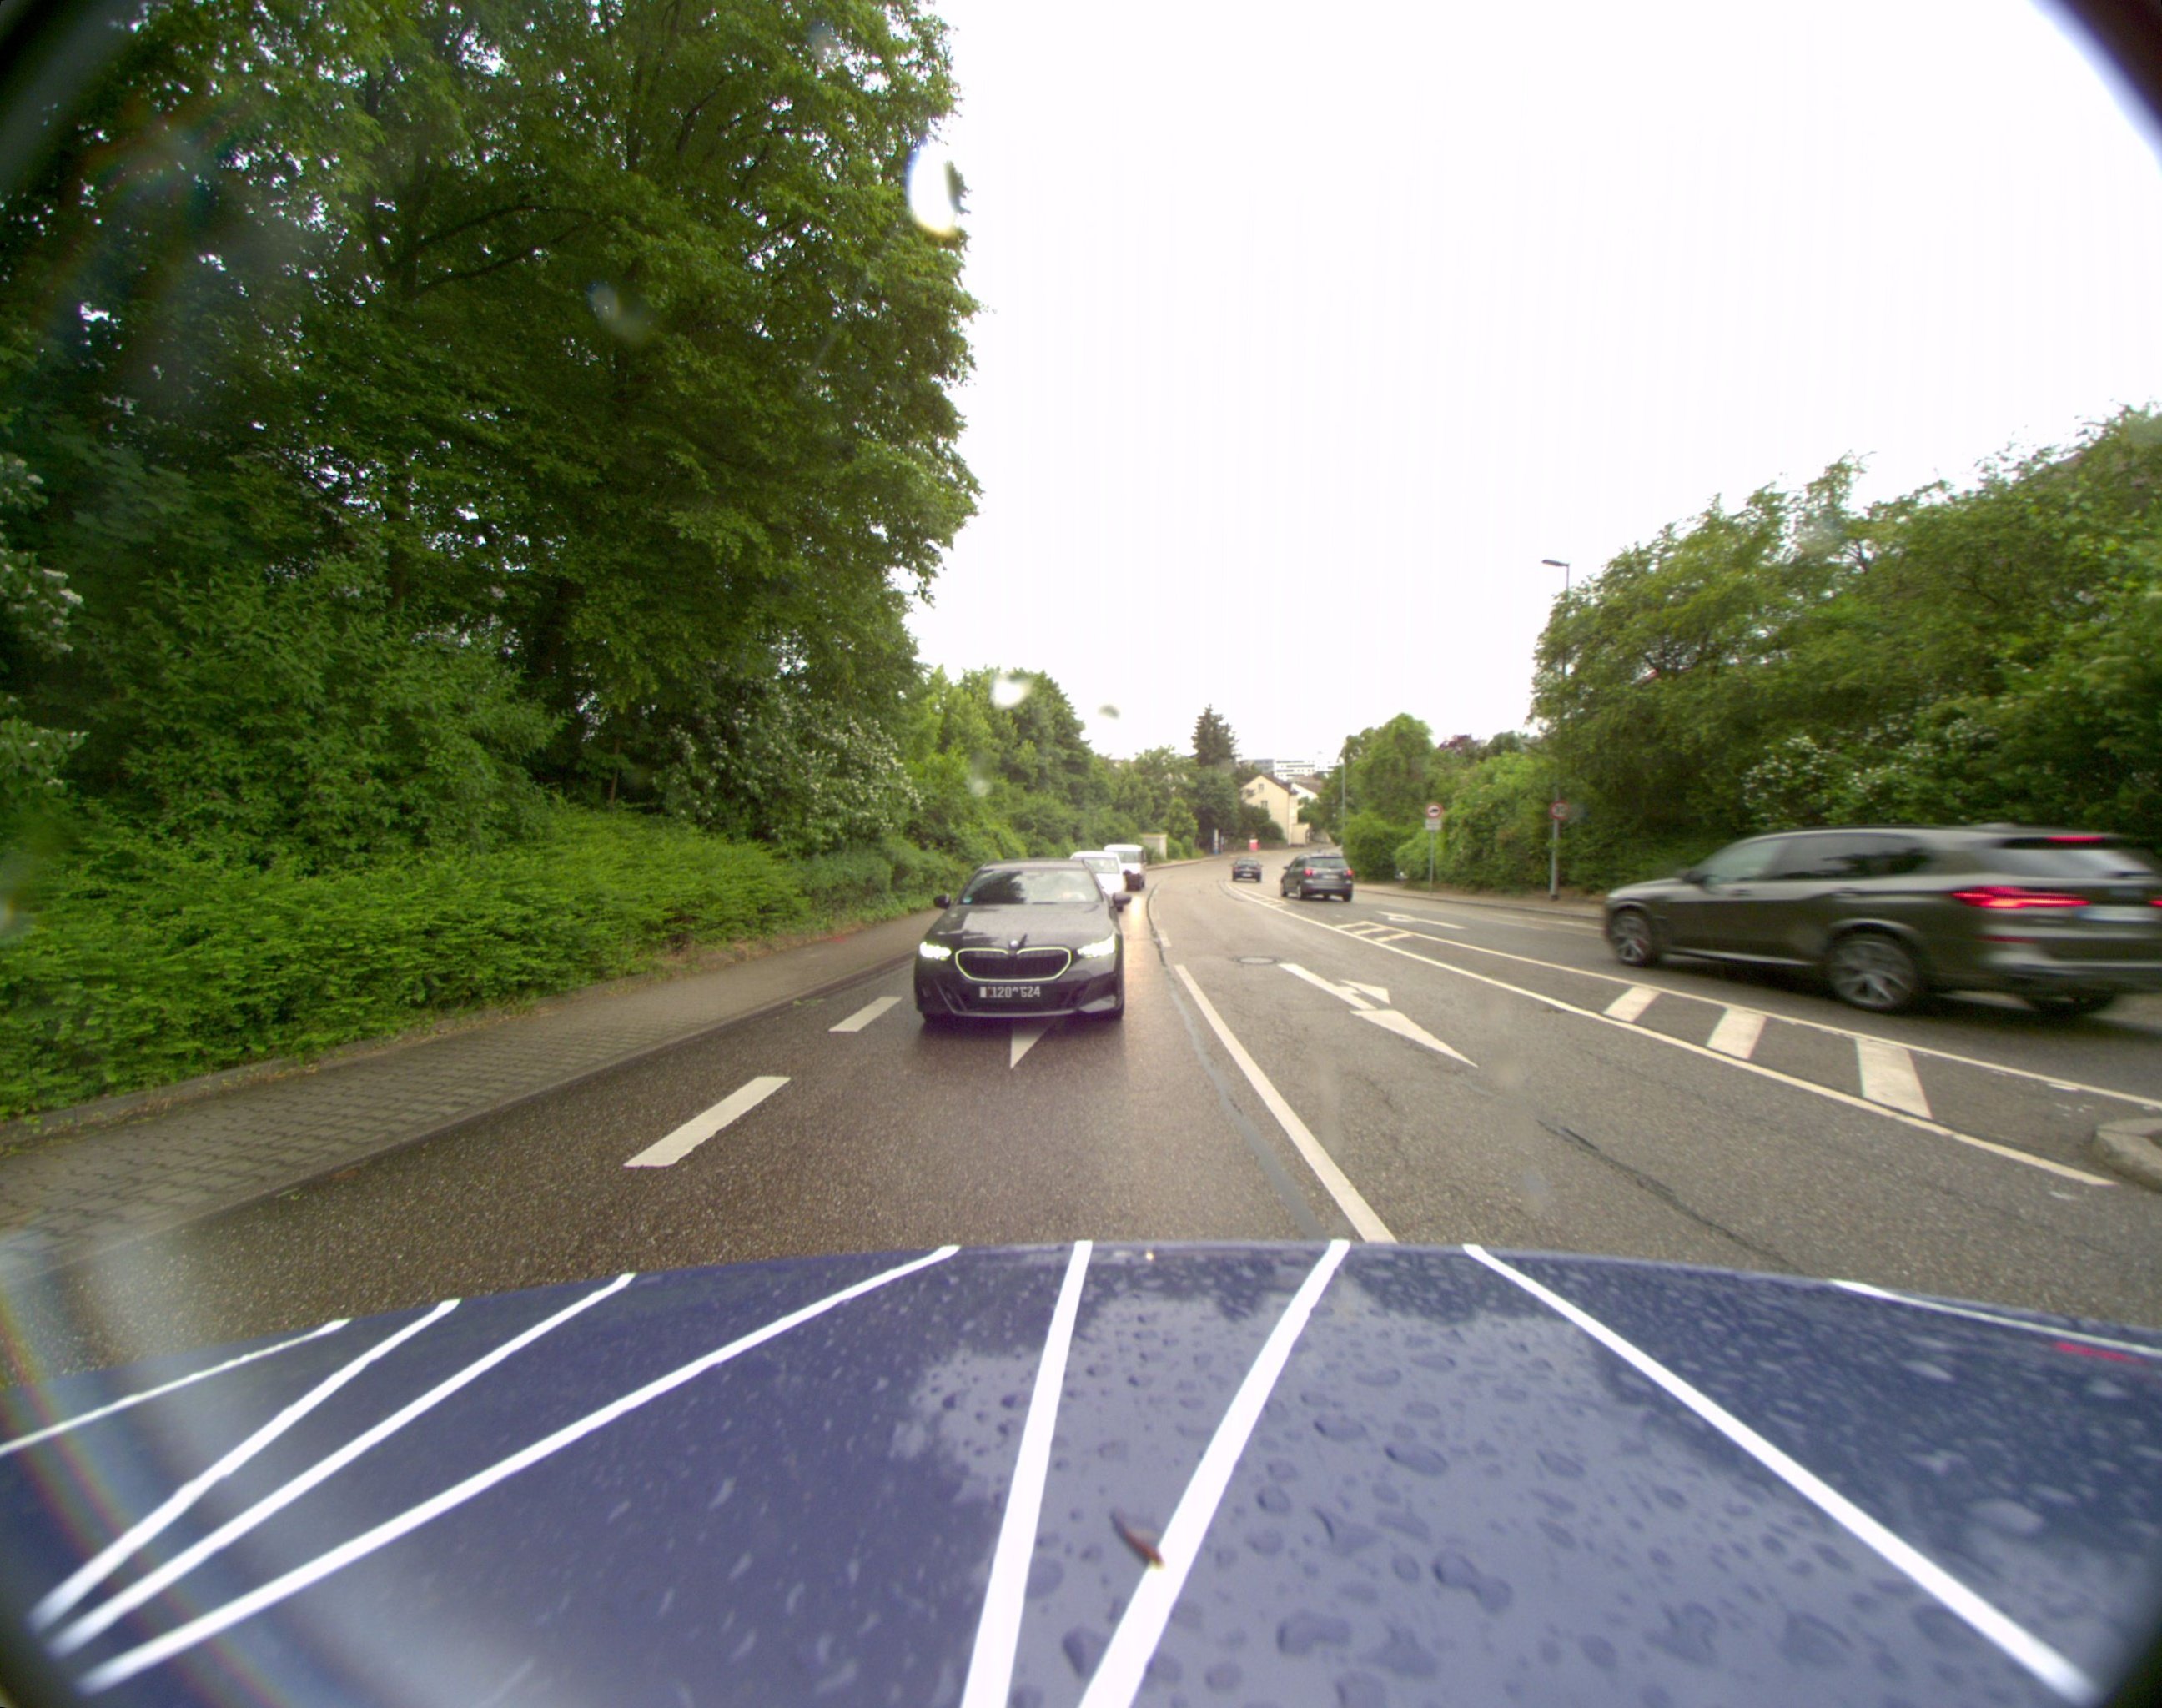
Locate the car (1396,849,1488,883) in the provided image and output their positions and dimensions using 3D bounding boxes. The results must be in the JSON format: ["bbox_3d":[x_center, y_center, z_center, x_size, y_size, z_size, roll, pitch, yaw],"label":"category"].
[{"bbox_3d":[18.538,0.606,39.166,3.908,1.432,1.812,-4,0,9],"label":"car"}]

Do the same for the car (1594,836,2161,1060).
[{"bbox_3d":[8.149,0.706,8.157,1.999,1.707,4.716,0,0,-1],"label":"car"}]

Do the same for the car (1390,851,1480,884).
[{"bbox_3d":[19.445,0.727,41.878,3.995,1.527,2.001,-4,0,8],"label":"car"}]

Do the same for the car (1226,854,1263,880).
[{"bbox_3d":[9.959,0.748,46.493,1.899,1.500,4.002,1,0,8],"label":"car"}]

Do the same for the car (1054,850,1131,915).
[{"bbox_3d":[0.289,0.696,20.741,1.818,1.431,3.999,3,2,0],"label":"car"}]

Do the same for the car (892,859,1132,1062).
[{"bbox_3d":[-0.426,0.865,8.191,1.872,1.497,4.198,1,1,4],"label":"car"}]

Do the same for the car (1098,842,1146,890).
[{"bbox_3d":[1.645,0.439,31.636,1.777,1.765,3.999,3,2,1],"label":"car"}]

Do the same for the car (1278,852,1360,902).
[{"bbox_3d":[8.144,0.727,26.381,1.746,1.593,4.032,1,0,3],"label":"car"}]
